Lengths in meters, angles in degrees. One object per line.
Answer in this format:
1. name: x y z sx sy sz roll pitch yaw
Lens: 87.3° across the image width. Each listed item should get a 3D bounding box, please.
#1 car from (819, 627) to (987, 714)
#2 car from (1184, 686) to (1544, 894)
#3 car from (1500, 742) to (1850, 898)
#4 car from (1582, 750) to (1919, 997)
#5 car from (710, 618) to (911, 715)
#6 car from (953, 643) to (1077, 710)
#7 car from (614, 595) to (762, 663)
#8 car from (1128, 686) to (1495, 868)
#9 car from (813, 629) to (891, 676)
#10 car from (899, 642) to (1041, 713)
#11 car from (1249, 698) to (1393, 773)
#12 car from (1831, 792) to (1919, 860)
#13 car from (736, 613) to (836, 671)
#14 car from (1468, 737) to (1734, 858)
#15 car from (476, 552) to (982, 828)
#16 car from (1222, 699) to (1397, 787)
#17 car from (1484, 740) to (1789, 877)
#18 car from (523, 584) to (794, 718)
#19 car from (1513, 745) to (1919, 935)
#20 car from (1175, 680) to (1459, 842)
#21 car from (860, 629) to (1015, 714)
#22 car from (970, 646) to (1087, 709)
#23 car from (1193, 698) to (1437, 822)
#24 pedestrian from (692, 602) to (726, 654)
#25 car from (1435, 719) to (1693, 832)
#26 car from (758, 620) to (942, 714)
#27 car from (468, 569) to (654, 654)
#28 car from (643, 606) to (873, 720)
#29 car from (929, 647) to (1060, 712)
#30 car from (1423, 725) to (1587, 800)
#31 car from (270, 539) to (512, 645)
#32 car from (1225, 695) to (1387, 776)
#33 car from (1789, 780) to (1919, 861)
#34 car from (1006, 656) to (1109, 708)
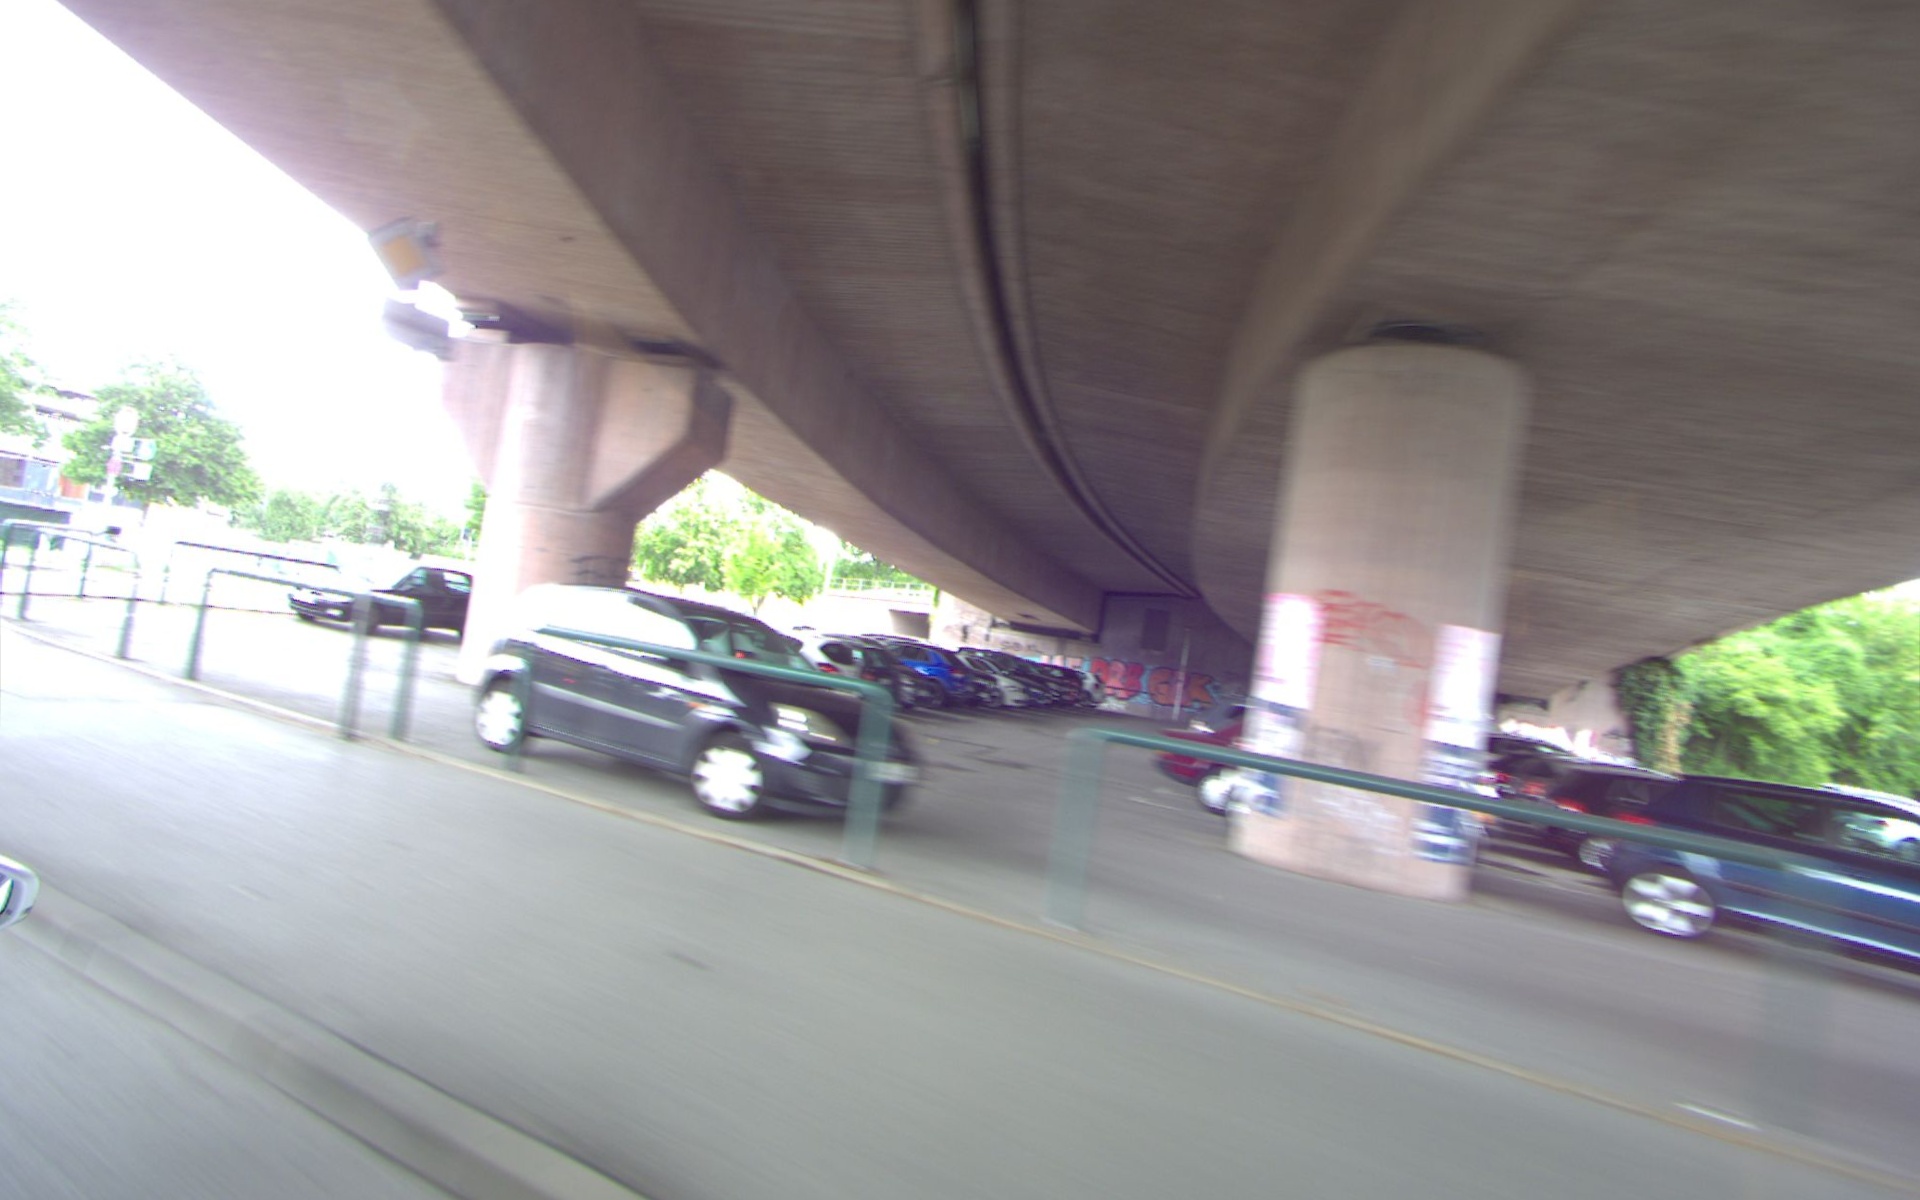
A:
1. car: -1.439 1.816 25.996 3.789 1.573 1.761 8 -2 14
2. car: 4.358 2.016 11.175 3.312 1.515 1.534 8 -4 21
3. car: 11.242 3.422 16.213 4.114 1.482 1.840 8 -2 21
4. car: 7.734 2.379 8.530 3.809 1.522 1.784 5 -5 44
5. car: -3.204 1.438 21.842 3.789 1.459 1.701 8 -2 14
6. car: 1.904 2.604 34.442 3.789 1.656 1.761 8 -2 14
7. car: -7.514 0.865 28.260 1.739 1.335 4.381 8 -3 19
8. car: 4.714 2.303 13.725 4.301 1.485 1.841 8 -4 25
9. car: -4.218 2.117 39.774 1.550 1.455 3.382 8 -3 20
10. car: 0.324 2.309 30.119 3.789 1.450 1.761 8 -2 14
11. car: 10.238 3.817 28.649 3.595 1.443 1.681 8 -2 21
12. car: 26.335 6.307 26.881 4.114 1.424 1.840 8 -2 21
13. car: -5.866 1.483 34.488 1.586 1.552 4.077 8 -3 16
14. car: 12.842 3.926 20.479 4.114 1.482 1.840 8 -2 21
15. car: -1.834 0.624 7.780 3.519 1.411 1.612 7 -4 31
16. car: 8.635 3.488 24.985 3.790 1.443 1.840 8 -2 21
17. car: 12.027 3.676 18.242 4.114 1.482 1.840 8 -2 21
18. car: -5.011 0.850 16.820 3.936 1.569 1.641 8 -2 17
19. car: 10.349 3.215 14.132 4.114 1.567 1.840 8 -2 21
20. car: 5.521 2.423 15.812 3.790 1.717 1.840 8 -2 21
21. car: -0.602 1.970 27.933 3.789 1.713 1.761 8 -2 14
22. car: 2.512 2.795 36.448 3.789 1.656 1.761 8 -2 14
23. car: 6.315 2.788 18.088 3.790 1.443 1.840 8 -2 21
24. pedestrian: -9.884 1.103 39.688 0.723 1.928 0.826 7 -2 18
25. car: 14.711 4.241 24.895 5.012 1.696 2.093 8 -2 21
26. car: -2.551 1.575 23.699 3.789 1.573 1.701 8 -2 14
27. car: -9.171 0.343 23.533 1.482 1.436 4.254 10 -2 19
28. car: -3.819 1.198 19.274 3.789 1.526 1.701 8 -2 14
29. car: 1.140 2.549 32.355 3.789 1.454 1.761 8 -2 14
30. car: 16.908 5.018 31.444 4.114 1.482 1.840 8 -2 21
31. car: -10.468 -0.069 18.809 1.482 1.344 3.705 10 -3 20
32. car: 9.186 3.567 26.816 3.790 1.443 1.681 8 -2 21
33. car: 27.063 6.530 29.173 4.114 1.707 1.840 8 -2 21
34. car: 3.983 3.322 40.837 3.789 1.495 1.761 8 -2 14
